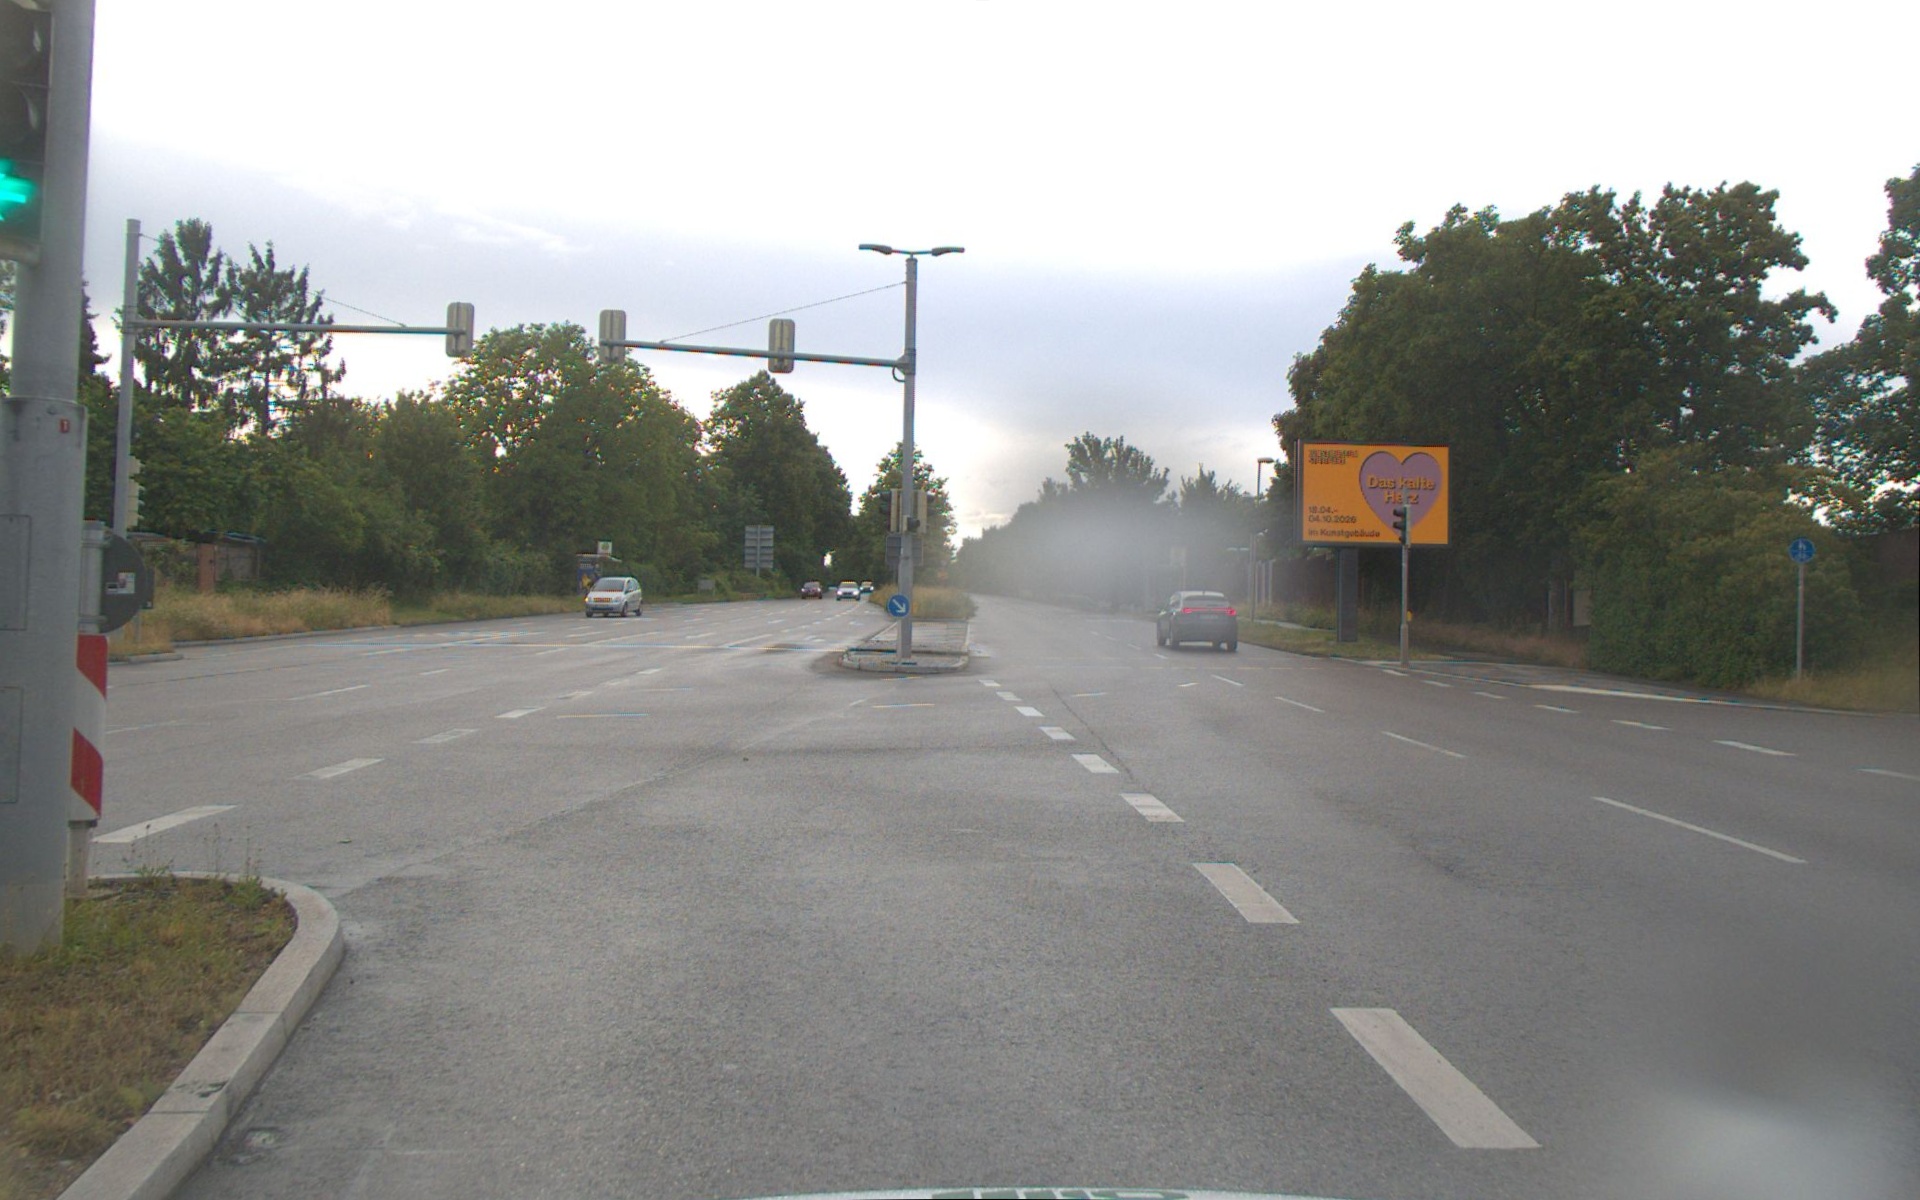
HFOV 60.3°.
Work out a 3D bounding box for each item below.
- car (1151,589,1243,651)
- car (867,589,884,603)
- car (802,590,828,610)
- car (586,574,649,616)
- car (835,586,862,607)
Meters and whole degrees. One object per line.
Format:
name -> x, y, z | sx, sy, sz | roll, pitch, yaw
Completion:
car -> 6.135, 0.506, 43.239 | 1.709, 1.495, 4.165 | 2, 0, -1
car -> -10.521, -0.489, 205.438 | 1.855, 1.624, 4.488 | 2, 0, -1
car -> -12.742, 0.004, 145.360 | 1.855, 1.624, 4.488 | 2, 0, -1
car -> -14.389, -0.204, 69.611 | 1.733, 1.624, 4.488 | 2, 0, -1
car -> -8.768, -0.268, 130.116 | 1.855, 1.561, 4.488 | 2, 0, -1
